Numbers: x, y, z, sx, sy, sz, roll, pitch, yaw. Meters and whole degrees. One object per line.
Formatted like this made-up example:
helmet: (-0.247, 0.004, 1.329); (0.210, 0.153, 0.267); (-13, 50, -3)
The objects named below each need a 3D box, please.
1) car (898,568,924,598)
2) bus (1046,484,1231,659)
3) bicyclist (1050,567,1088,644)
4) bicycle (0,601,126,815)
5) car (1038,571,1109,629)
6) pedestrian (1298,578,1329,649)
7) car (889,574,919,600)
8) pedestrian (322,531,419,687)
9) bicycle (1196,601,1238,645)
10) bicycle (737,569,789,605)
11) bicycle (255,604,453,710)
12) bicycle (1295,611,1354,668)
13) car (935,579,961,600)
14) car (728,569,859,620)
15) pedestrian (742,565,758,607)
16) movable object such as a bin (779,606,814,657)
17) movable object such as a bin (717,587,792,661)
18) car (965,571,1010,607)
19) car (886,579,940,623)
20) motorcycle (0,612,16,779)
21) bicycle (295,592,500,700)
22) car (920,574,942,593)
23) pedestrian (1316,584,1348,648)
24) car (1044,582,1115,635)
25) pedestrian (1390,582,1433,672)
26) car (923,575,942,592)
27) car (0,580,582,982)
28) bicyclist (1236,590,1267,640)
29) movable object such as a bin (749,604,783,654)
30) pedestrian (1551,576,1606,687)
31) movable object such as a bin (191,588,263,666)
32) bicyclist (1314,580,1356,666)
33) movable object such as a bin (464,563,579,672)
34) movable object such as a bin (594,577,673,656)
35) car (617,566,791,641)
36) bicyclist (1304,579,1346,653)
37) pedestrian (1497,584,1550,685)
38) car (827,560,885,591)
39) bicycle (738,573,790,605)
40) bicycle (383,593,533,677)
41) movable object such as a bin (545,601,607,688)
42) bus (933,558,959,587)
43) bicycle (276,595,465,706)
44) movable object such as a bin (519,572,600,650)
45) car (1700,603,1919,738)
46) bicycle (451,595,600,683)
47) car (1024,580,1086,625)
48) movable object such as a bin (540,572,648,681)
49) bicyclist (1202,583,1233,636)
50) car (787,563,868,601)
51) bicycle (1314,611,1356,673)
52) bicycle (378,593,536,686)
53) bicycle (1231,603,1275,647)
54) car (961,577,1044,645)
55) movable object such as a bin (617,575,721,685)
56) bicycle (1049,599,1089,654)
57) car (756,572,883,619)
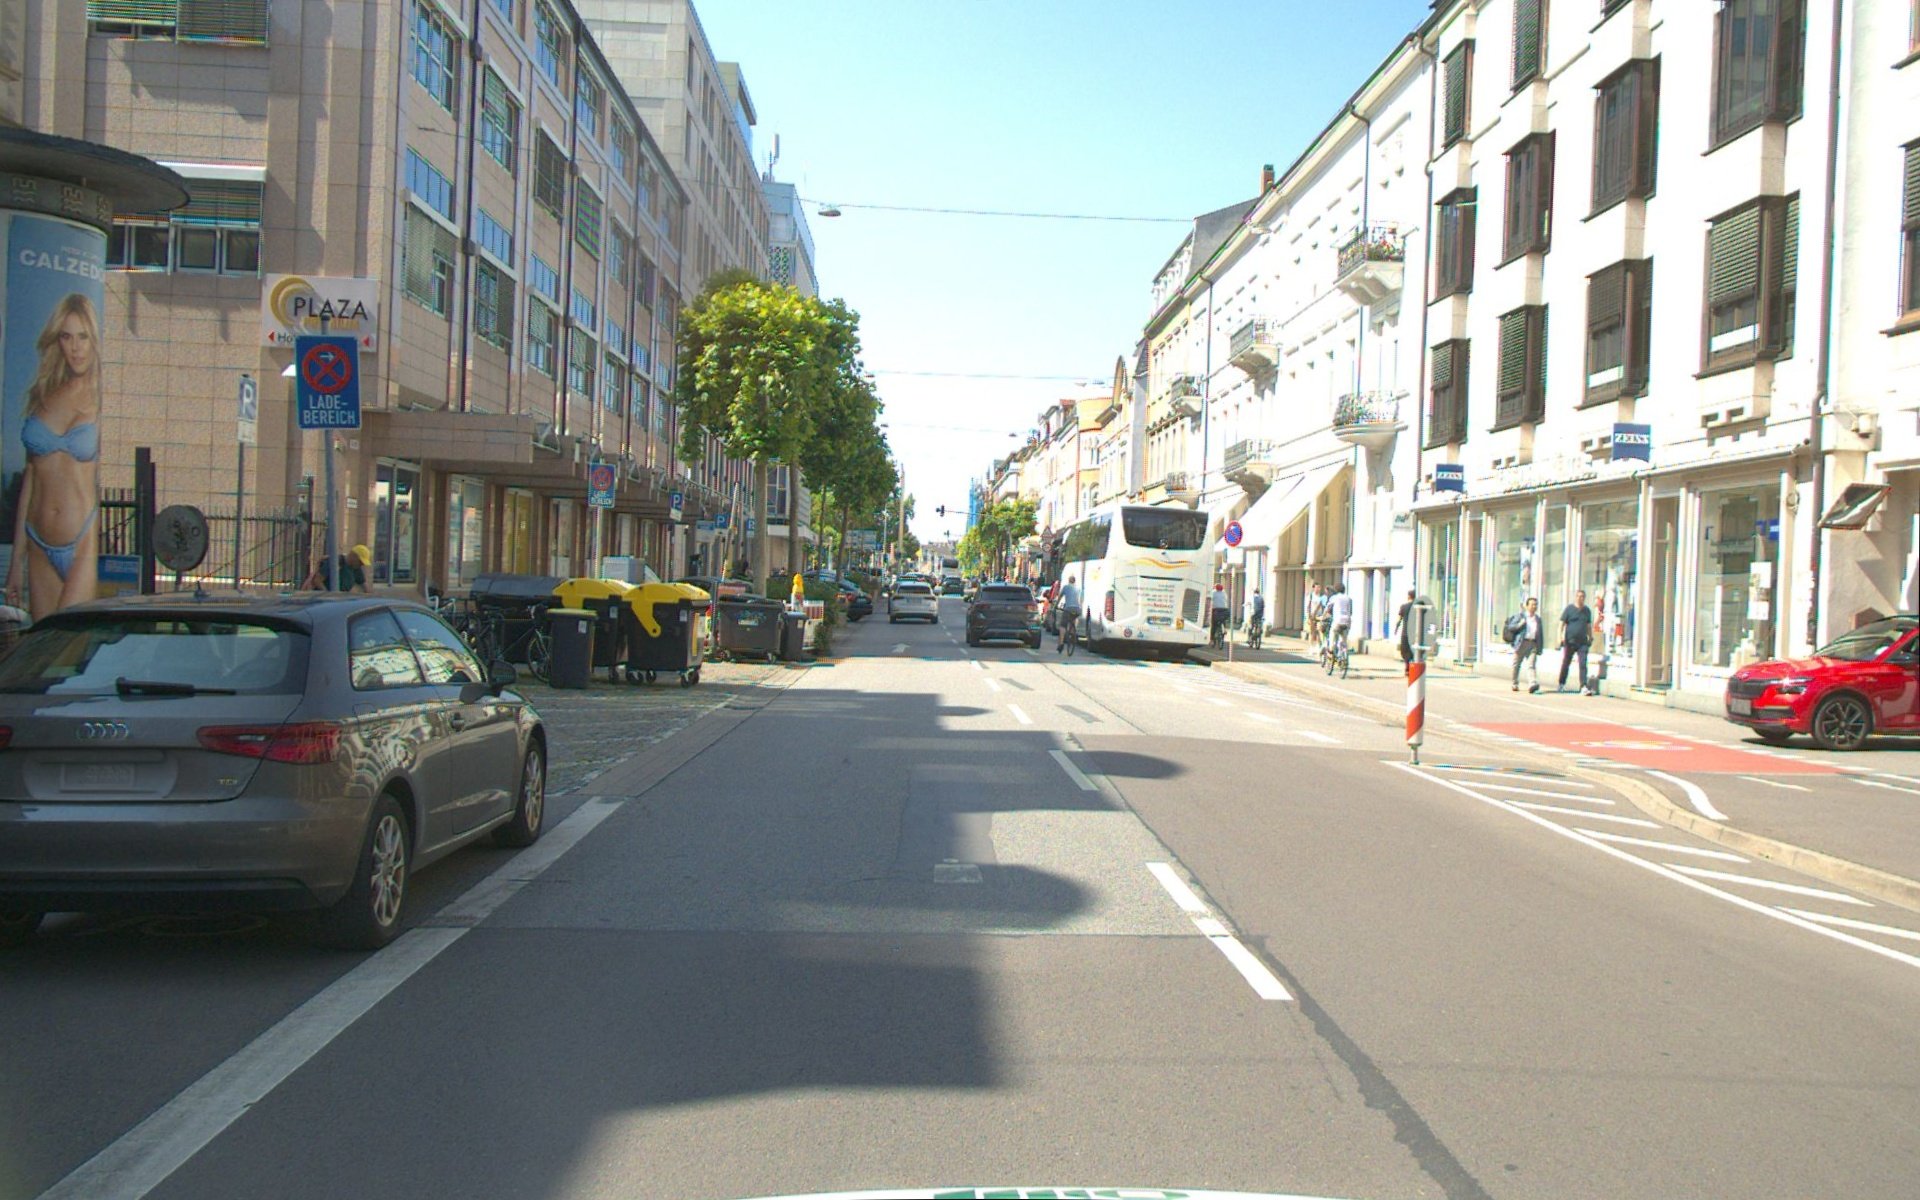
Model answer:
car: (-3.646, -1.257, 121.933); (1.825, 2.065, 3.998); (2, -1, -2)
bus: (4.378, -0.737, 43.810); (2.824, 3.806, 12.421); (4, 1, -3)
bicyclist: (2.509, 0.118, 38.086); (0.680, 1.702, 0.916); (4, 2, -1)
bicycle: (-5.399, 0.575, 8.781); (0.420, 1.140, 2.245); (3, -1, 9)
car: (4.058, -0.043, 59.730); (1.792, 1.895, 4.350); (3, 1, -5)
pedestrian: (9.162, 0.357, 42.926); (0.561, 1.809, 1.020); (2, -1, 1)
car: (-3.342, -0.808, 98.625); (1.708, 1.466, 3.999); (2, 1, -2)
pedestrian: (-6.878, 0.106, 19.330); (0.872, 1.755, 0.747); (2, 0, -8)
bicycle: (6.926, 0.608, 44.684); (0.608, 1.118, 2.351); (2, 0, -3)
bicycle: (-8.138, -0.530, 68.378); (2.027, 1.310, 0.367); (4, 0, -9)
bicycle: (-6.718, 0.634, 18.436); (1.929, 1.035, 0.669); (4, -1, -13)
bicycle: (7.819, 0.835, 35.585); (0.608, 1.118, 2.351); (2, 0, -3)
car: (-0.904, -0.811, 124.008); (1.825, 1.466, 3.999); (2, 1, -2)
car: (-5.964, -0.215, 59.052); (4.672, 1.559, 1.979); (4, 1, 41)
pedestrian: (-8.714, -0.580, 68.608); (0.555, 1.686, 0.636); (2, 0, -6)
movable object such as a bin: (-3.213, 0.610, 32.437); (0.547, 0.955, 0.496); (0, 1, -28)
movable object such as a bin: (-3.826, 0.436, 30.886); (1.251, 1.322, 0.853); (2, 0, -2)
car: (1.223, -0.492, 74.975); (1.796, 1.554, 3.998); (0, -1, -2)
car: (-1.698, 0.044, 60.166); (1.825, 1.466, 3.999); (3, 0, -2)
motorcycle: (-6.197, 0.564, 9.117); (0.444, 1.015, 2.162); (3, 0, 8)
bicycle: (-6.704, 0.550, 19.815); (2.197, 1.140, 0.555); (4, -1, -13)
car: (-2.540, -1.435, 142.370); (1.825, 1.466, 3.998); (1, -1, -2)
pedestrian: (9.793, 0.418, 43.585); (0.632, 1.645, 0.822); (2, -2, 1)
car: (3.851, 0.231, 54.186); (1.821, 1.495, 5.225); (4, 1, -1)
pedestrian: (9.055, 0.545, 33.192); (0.607, 1.750, 0.835); (2, -1, 1)
car: (-2.703, -1.607, 161.291); (1.825, 1.466, 3.998); (1, -1, -2)
car: (-3.217, 0.629, 8.046); (1.898, 1.378, 4.248); (1, 1, -2)
bicyclist: (8.005, 0.407, 45.405); (0.608, 1.319, 0.866); (2, 0, -3)
movable object such as a bin: (-3.772, 0.558, 32.173); (0.488, 0.955, 0.556); (1, 1, 15)
pedestrian: (10.679, 0.542, 28.572); (0.679, 1.883, 0.836); (1, -1, 7)
movable object such as a bin: (-8.509, 0.313, 19.219); (0.642, 0.891, 0.510); (1, -1, -9)
bicyclist: (7.386, 0.438, 32.580); (0.679, 1.654, 0.836); (1, 0, 7)
movable object such as a bin: (-6.458, 0.231, 24.425); (1.184, 1.475, 1.365); (4, 2, 4)
movable object such as a bin: (-6.041, 0.294, 30.645); (1.184, 1.321, 1.080); (4, 2, -2)
car: (-6.141, 0.066, 39.464); (3.983, 1.520, 1.926); (4, 2, 40)
bicyclist: (7.856, 0.333, 35.650); (0.608, 1.556, 0.869); (2, 0, -3)
pedestrian: (9.849, 0.593, 28.925); (0.679, 1.715, 0.836); (1, 0, 7)
car: (-8.621, -2.027, 136.888); (4.637, 2.037, 1.932); (6, 0, 39)
bicycle: (-8.025, -0.468, 67.694); (2.027, 1.150, 0.463); (5, 0, -9)
bicycle: (-6.642, 0.464, 21.937); (1.807, 1.092, 0.556); (1, -1, -6)
movable object such as a bin: (-5.265, 0.601, 22.709); (0.709, 1.117, 0.655); (3, 1, -9)
bus: (-1.882, -3.579, 214.349); (2.716, 3.667, 8.966); (2, 1, -4)
bicycle: (-6.798, 0.584, 19.156); (1.926, 1.140, 0.555); (4, -1, -13)
movable object such as a bin: (-7.407, 0.186, 30.644); (1.184, 1.322, 1.127); (4, 2, -2)
car: (11.371, 0.873, 20.070); (3.962, 1.521, 1.841); (2, -2, 0)
bicycle: (-6.143, 0.544, 23.462); (1.929, 1.140, 0.508); (3, -1, -5)
car: (3.707, 0.055, 65.180); (1.777, 1.491, 4.577); (4, 2, -4)
movable object such as a bin: (-5.333, 0.364, 24.224); (1.100, 1.475, 1.439); (4, 2, 4)
bicyclist: (6.942, 0.249, 44.634); (0.608, 1.394, 0.780); (2, 0, -3)
car: (-7.211, -0.980, 89.732); (3.910, 1.594, 1.699); (7, 1, 24)
bicycle: (7.423, 0.810, 32.783); (0.582, 1.140, 1.802); (2, 1, 6)
bicycle: (-6.911, 0.537, 22.785); (1.936, 1.140, 0.508); (4, -1, -5)
bicycle: (8.008, 0.661, 45.284); (0.608, 1.118, 2.351); (2, 0, -3)
car: (1.027, 0.241, 41.578); (1.796, 1.554, 3.999); (2, 0, -2)
movable object such as a bin: (-4.231, 0.410, 24.151); (1.100, 1.475, 1.439); (4, 2, 4)
bicycle: (2.506, 0.594, 38.197); (0.651, 1.139, 2.243); (4, 1, -1)
car: (-5.297, -0.186, 62.051); (4.708, 1.447, 1.874); (5, 2, 39)
